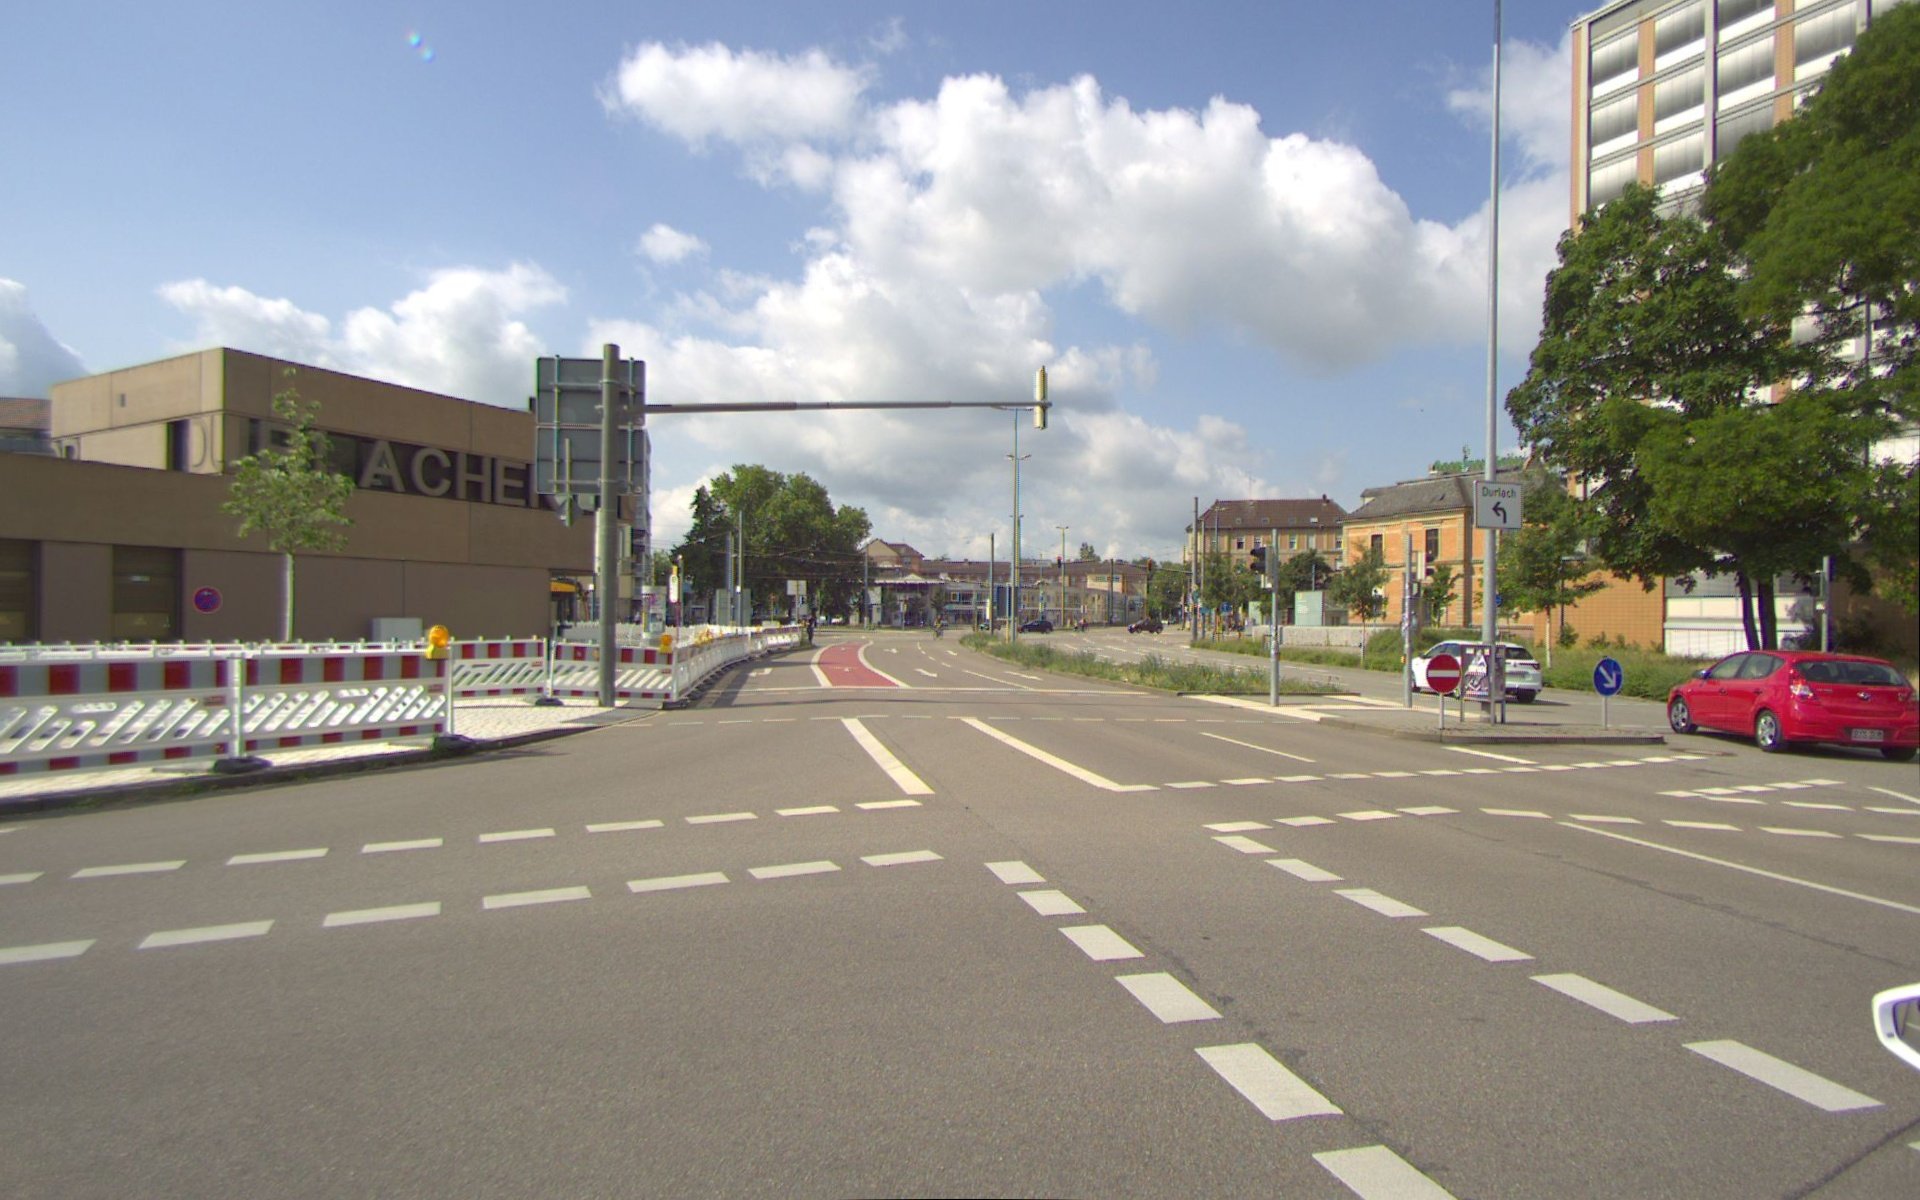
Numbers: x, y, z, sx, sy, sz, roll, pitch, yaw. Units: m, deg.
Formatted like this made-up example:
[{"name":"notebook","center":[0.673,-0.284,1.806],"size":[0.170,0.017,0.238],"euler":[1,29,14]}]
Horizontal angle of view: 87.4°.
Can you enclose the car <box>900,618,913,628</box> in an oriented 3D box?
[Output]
[{"name":"car","center":[-8.863,3.782,166.629],"size":[1.963,1.572,4.074],"euler":[1,-1,-7]}]

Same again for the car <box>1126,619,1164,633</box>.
[{"name":"car","center":[21.449,3.031,116.583],"size":[4.014,1.528,1.808],"euler":[1,-1,-16]}]

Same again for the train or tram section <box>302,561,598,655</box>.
[{"name":"train or tram section","center":[-21.877,0.446,44.487],"size":[2.620,3.619,12.396],"euler":[0,-1,28]}]

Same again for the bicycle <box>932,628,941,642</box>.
[{"name":"bicycle","center":[-1.791,2.691,78.057],"size":[0.606,1.015,2.019],"euler":[1,-1,1]}]

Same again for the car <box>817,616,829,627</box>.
[{"name":"car","center":[-22.948,3.658,168.212],"size":[1.770,1.792,3.996],"euler":[1,-1,-6]}]

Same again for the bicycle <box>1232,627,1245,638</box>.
[{"name":"bicycle","center":[21.716,2.545,78.324],"size":[0.614,0.821,1.790],"euler":[-1,-1,4]}]

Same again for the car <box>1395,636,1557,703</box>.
[{"name":"car","center":[12.972,1.700,25.597],"size":[1.818,1.491,4.334],"euler":[0,-1,-1]}]

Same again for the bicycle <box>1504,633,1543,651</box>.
[{"name":"bicycle","center":[35.399,2.635,63.101],"size":[0.660,1.087,2.051],"euler":[1,-1,-35]}]

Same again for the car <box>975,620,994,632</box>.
[{"name":"car","center":[3.171,3.345,130.684],"size":[1.959,1.550,4.003],"euler":[0,-1,8]}]

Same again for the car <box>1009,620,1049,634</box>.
[{"name":"car","center":[7.663,2.978,111.886],"size":[4.014,1.528,1.808],"euler":[1,-1,-16]}]

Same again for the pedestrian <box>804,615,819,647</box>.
[{"name":"pedestrian","center":[-7.937,1.678,53.816],"size":[0.724,1.703,0.640],"euler":[1,-1,-4]}]

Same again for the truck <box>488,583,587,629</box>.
[{"name":"truck","center":[-37.440,0.588,89.259],"size":[7.811,3.907,2.193],"euler":[1,-1,-17]}]

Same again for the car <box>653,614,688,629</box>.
[{"name":"car","center":[-34.345,2.509,119.173],"size":[3.940,1.684,1.991],"euler":[1,-1,-21]}]

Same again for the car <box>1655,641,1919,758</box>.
[{"name":"car","center":[12.662,1.420,15.478],"size":[1.785,1.458,4.070],"euler":[3,-2,13]}]

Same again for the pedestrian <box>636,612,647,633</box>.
[{"name":"pedestrian","center":[-28.537,2.011,89.877],"size":[0.687,1.885,0.819],"euler":[1,-1,-1]}]

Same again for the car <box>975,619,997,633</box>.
[{"name":"car","center":[3.436,3.347,129.772],"size":[1.815,1.742,4.001],"euler":[0,-1,17]}]

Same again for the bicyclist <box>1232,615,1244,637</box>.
[{"name":"bicyclist","center":[21.736,2.037,78.536],"size":[0.723,1.725,0.966],"euler":[-1,-1,3]}]

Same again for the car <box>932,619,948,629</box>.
[{"name":"car","center":[-3.424,3.965,168.192],"size":[1.965,1.617,3.992],"euler":[1,-1,-11]}]

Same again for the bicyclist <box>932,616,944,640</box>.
[{"name":"bicyclist","center":[-1.718,2.164,78.050],"size":[0.797,1.847,1.160],"euler":[1,-1,4]}]
